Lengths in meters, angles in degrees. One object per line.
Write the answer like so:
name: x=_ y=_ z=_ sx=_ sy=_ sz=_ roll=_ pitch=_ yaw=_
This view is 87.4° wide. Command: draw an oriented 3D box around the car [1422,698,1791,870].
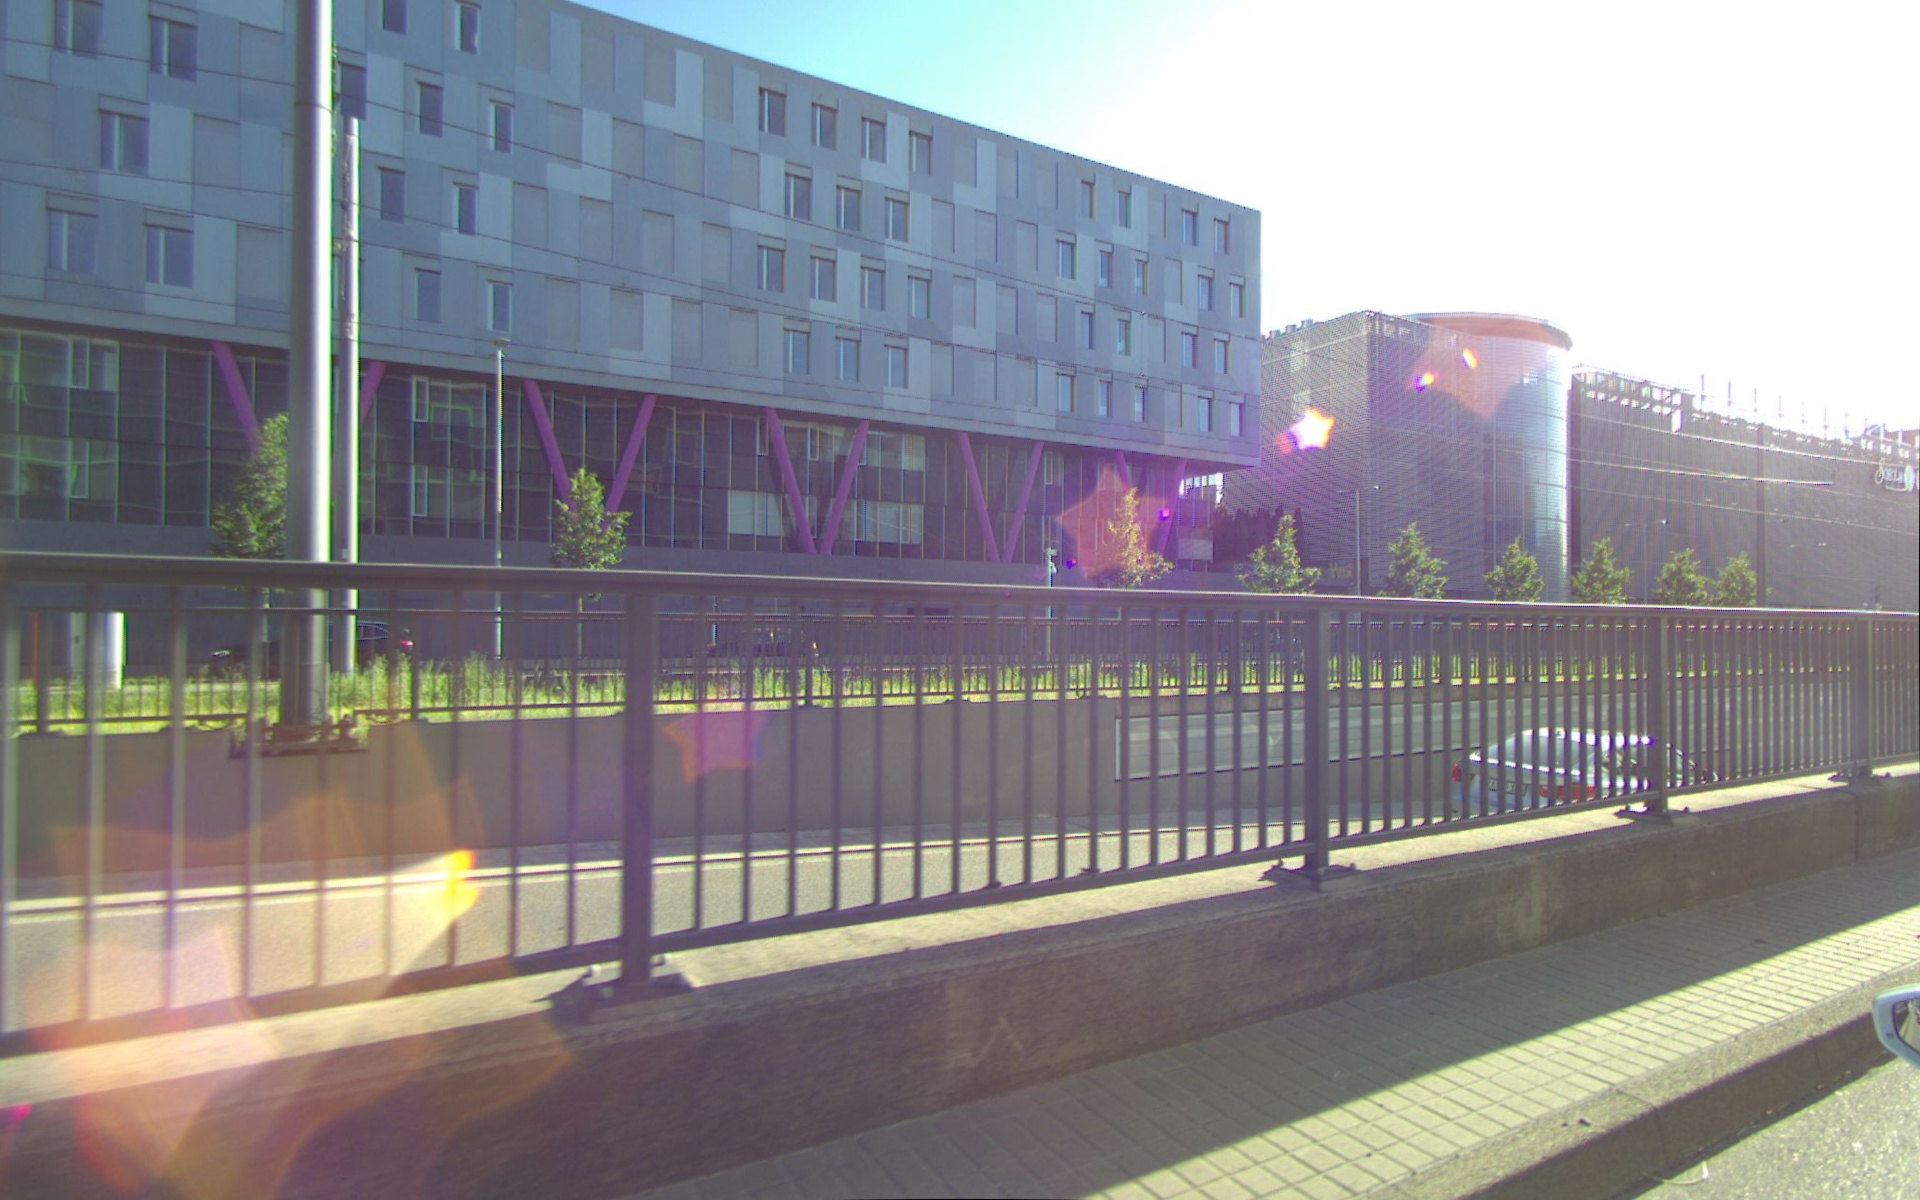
car: x=8.253 y=2.169 z=12.732 sx=4.849 sy=1.547 sz=1.791 roll=1 pitch=0 yaw=-28

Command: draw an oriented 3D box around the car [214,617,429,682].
car: x=-16.746 y=1.278 z=26.679 sx=4.660 sy=1.547 sz=1.791 roll=1 pitch=0 yaw=-28
